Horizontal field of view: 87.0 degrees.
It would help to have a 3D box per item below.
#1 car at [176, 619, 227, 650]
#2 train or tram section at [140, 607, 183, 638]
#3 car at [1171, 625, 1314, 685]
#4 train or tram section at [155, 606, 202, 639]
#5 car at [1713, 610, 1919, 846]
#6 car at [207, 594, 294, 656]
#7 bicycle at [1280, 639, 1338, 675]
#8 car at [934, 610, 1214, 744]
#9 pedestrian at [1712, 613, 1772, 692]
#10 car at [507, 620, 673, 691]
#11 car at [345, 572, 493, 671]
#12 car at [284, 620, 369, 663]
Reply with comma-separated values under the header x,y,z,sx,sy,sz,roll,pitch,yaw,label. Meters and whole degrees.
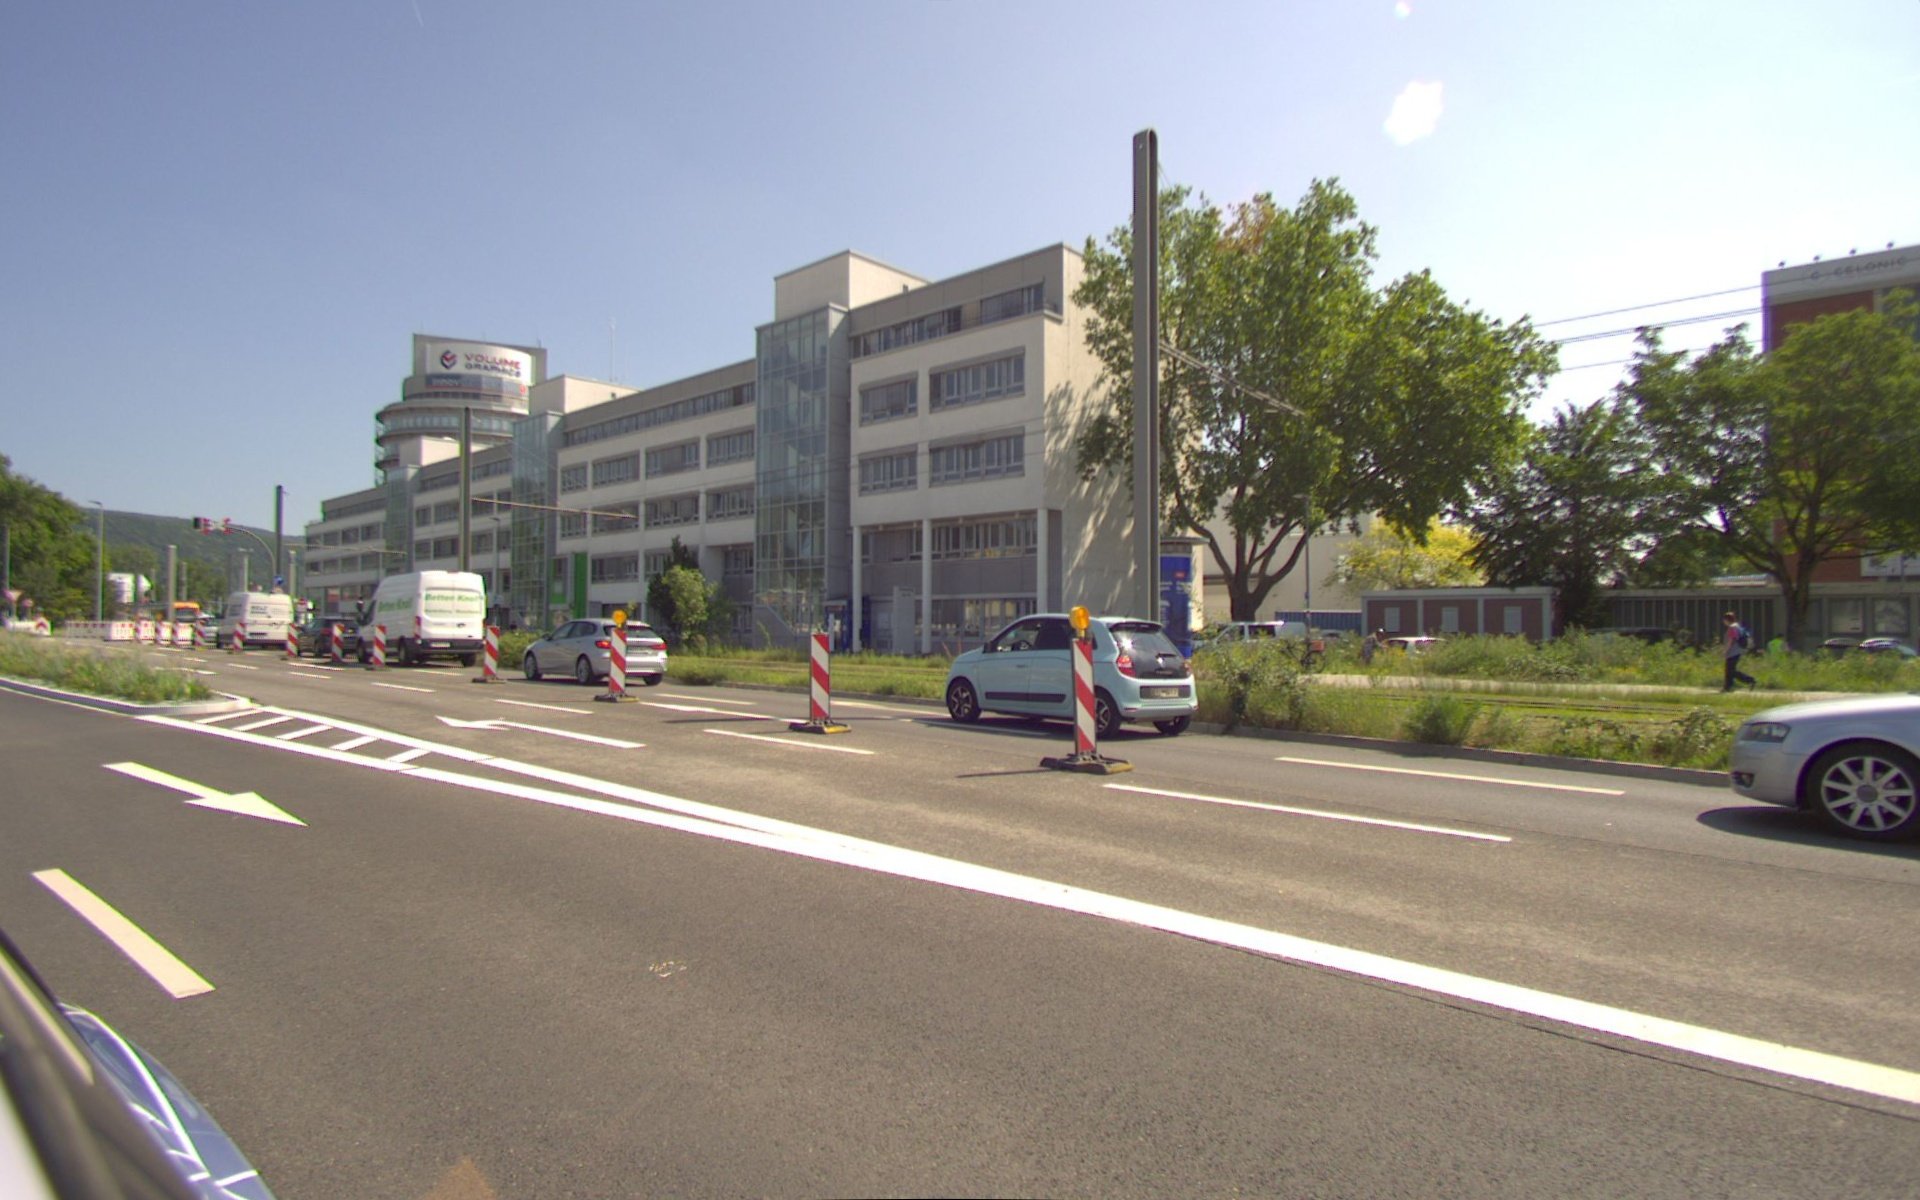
x,y,z,sx,sy,sz,roll,pitch,yaw,label
-40.150,1.822,53.549,1.562,1.553,3.980,5,-5,-45,car
-95.844,2.684,121.364,11.786,3.477,2.595,-1,-1,45,train or tram section
10.861,2.057,38.946,4.988,2.196,2.120,0,-1,-20,car
-87.441,2.494,113.075,11.786,3.477,2.595,-1,-1,45,train or tram section
7.170,0.783,5.853,1.561,1.427,4.301,2,-3,-43,car
-32.374,1.148,46.083,6.196,2.598,2.008,-2,-5,44,car
10.182,1.645,29.556,0.455,0.993,1.558,1,-2,-44,bicycle
1.416,0.960,13.555,1.560,1.542,3.626,4,-4,-40,car
16.464,1.088,21.306,0.805,1.588,0.827,-1,0,-42,pedestrian
-8.408,1.203,22.820,4.469,1.454,1.655,-1,-4,43,car
-16.648,0.683,30.958,5.986,2.761,2.054,-1,-4,43,car
-22.947,1.495,36.626,4.193,1.468,1.528,-1,-4,43,car
